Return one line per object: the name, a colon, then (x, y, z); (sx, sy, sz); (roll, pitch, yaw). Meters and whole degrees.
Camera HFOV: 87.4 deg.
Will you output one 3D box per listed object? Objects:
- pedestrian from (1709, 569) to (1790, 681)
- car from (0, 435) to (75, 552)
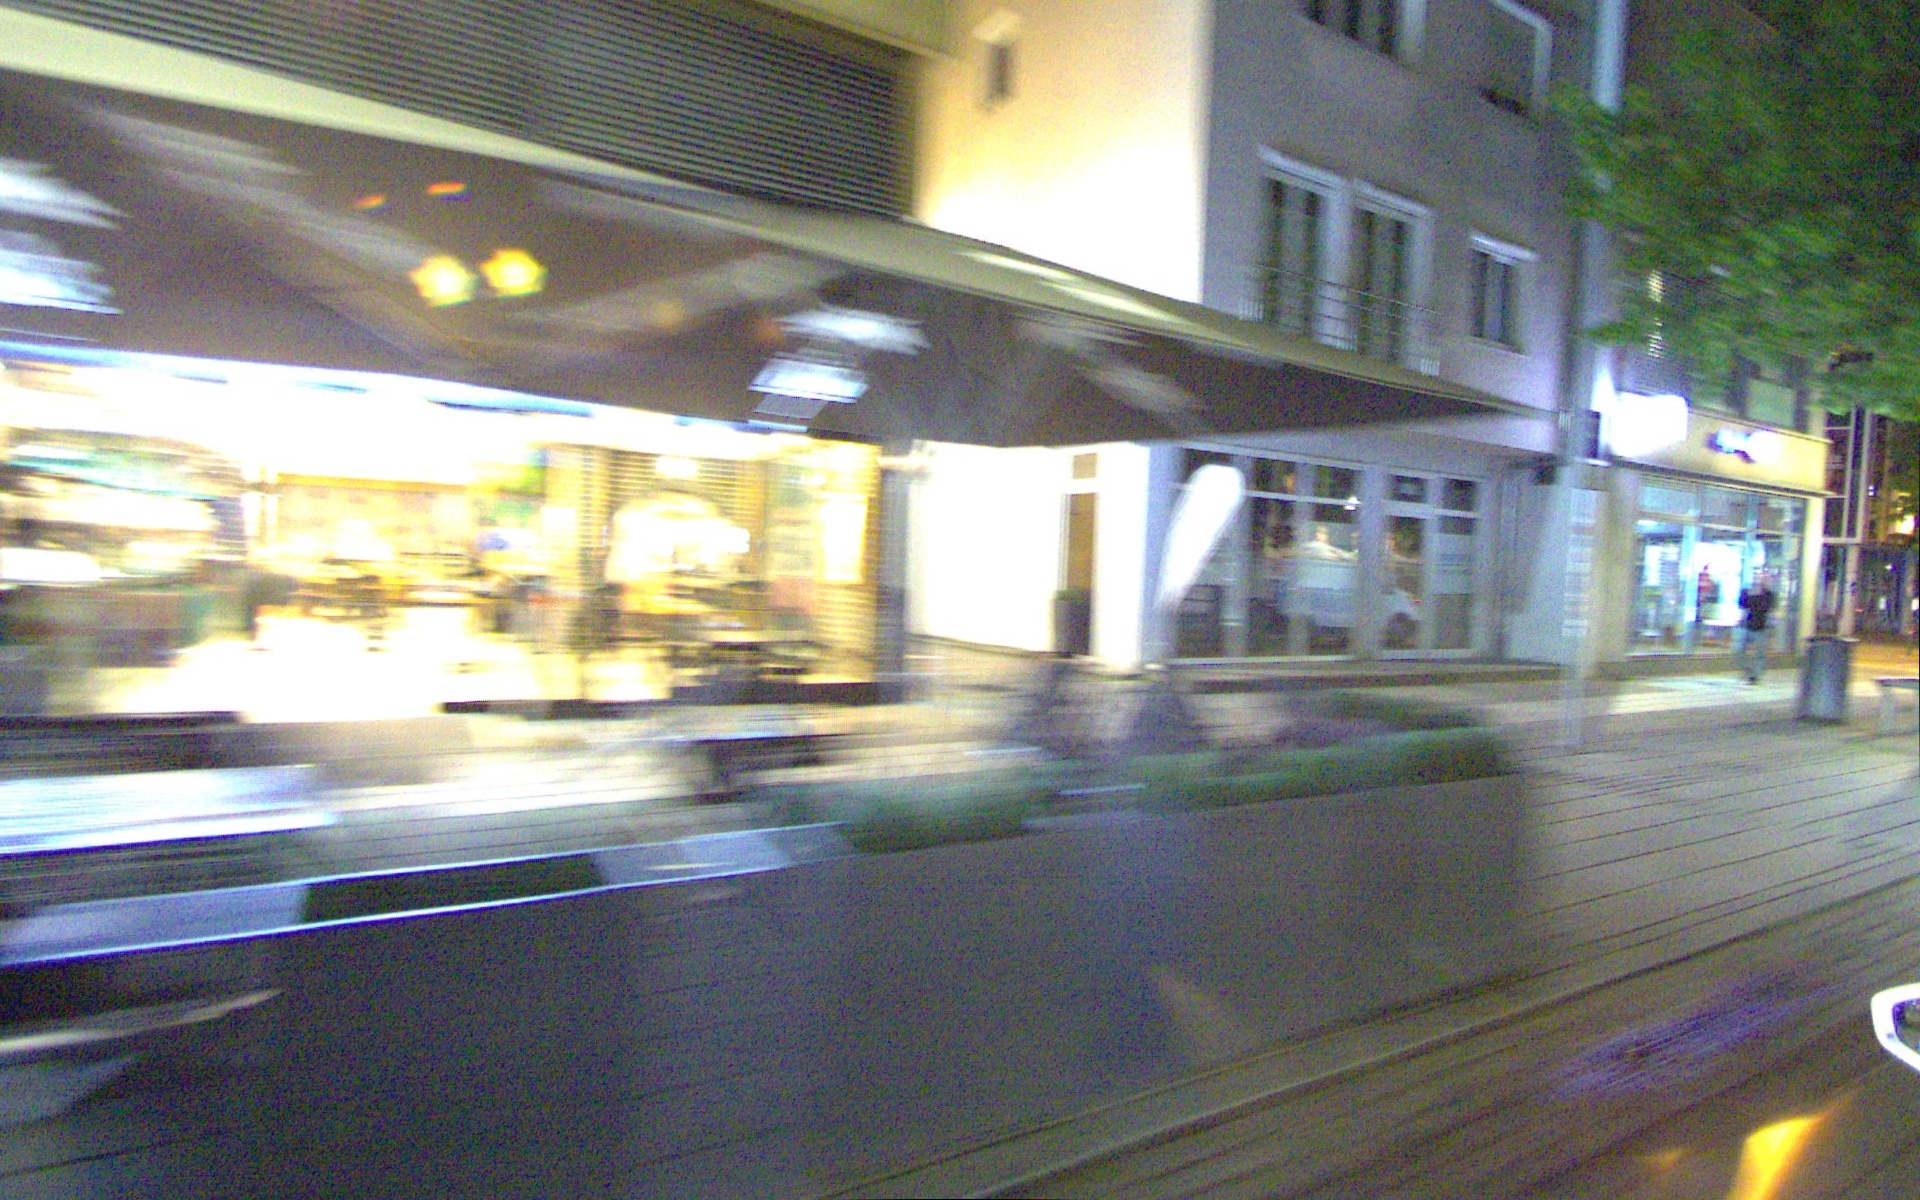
pedestrian: (12.614, 0.385, 16.051); (0.898, 1.742, 0.665); (1, 2, -30)
car: (-18.778, -1.990, 19.188); (1.976, 2.041, 3.969); (1, 2, -29)
